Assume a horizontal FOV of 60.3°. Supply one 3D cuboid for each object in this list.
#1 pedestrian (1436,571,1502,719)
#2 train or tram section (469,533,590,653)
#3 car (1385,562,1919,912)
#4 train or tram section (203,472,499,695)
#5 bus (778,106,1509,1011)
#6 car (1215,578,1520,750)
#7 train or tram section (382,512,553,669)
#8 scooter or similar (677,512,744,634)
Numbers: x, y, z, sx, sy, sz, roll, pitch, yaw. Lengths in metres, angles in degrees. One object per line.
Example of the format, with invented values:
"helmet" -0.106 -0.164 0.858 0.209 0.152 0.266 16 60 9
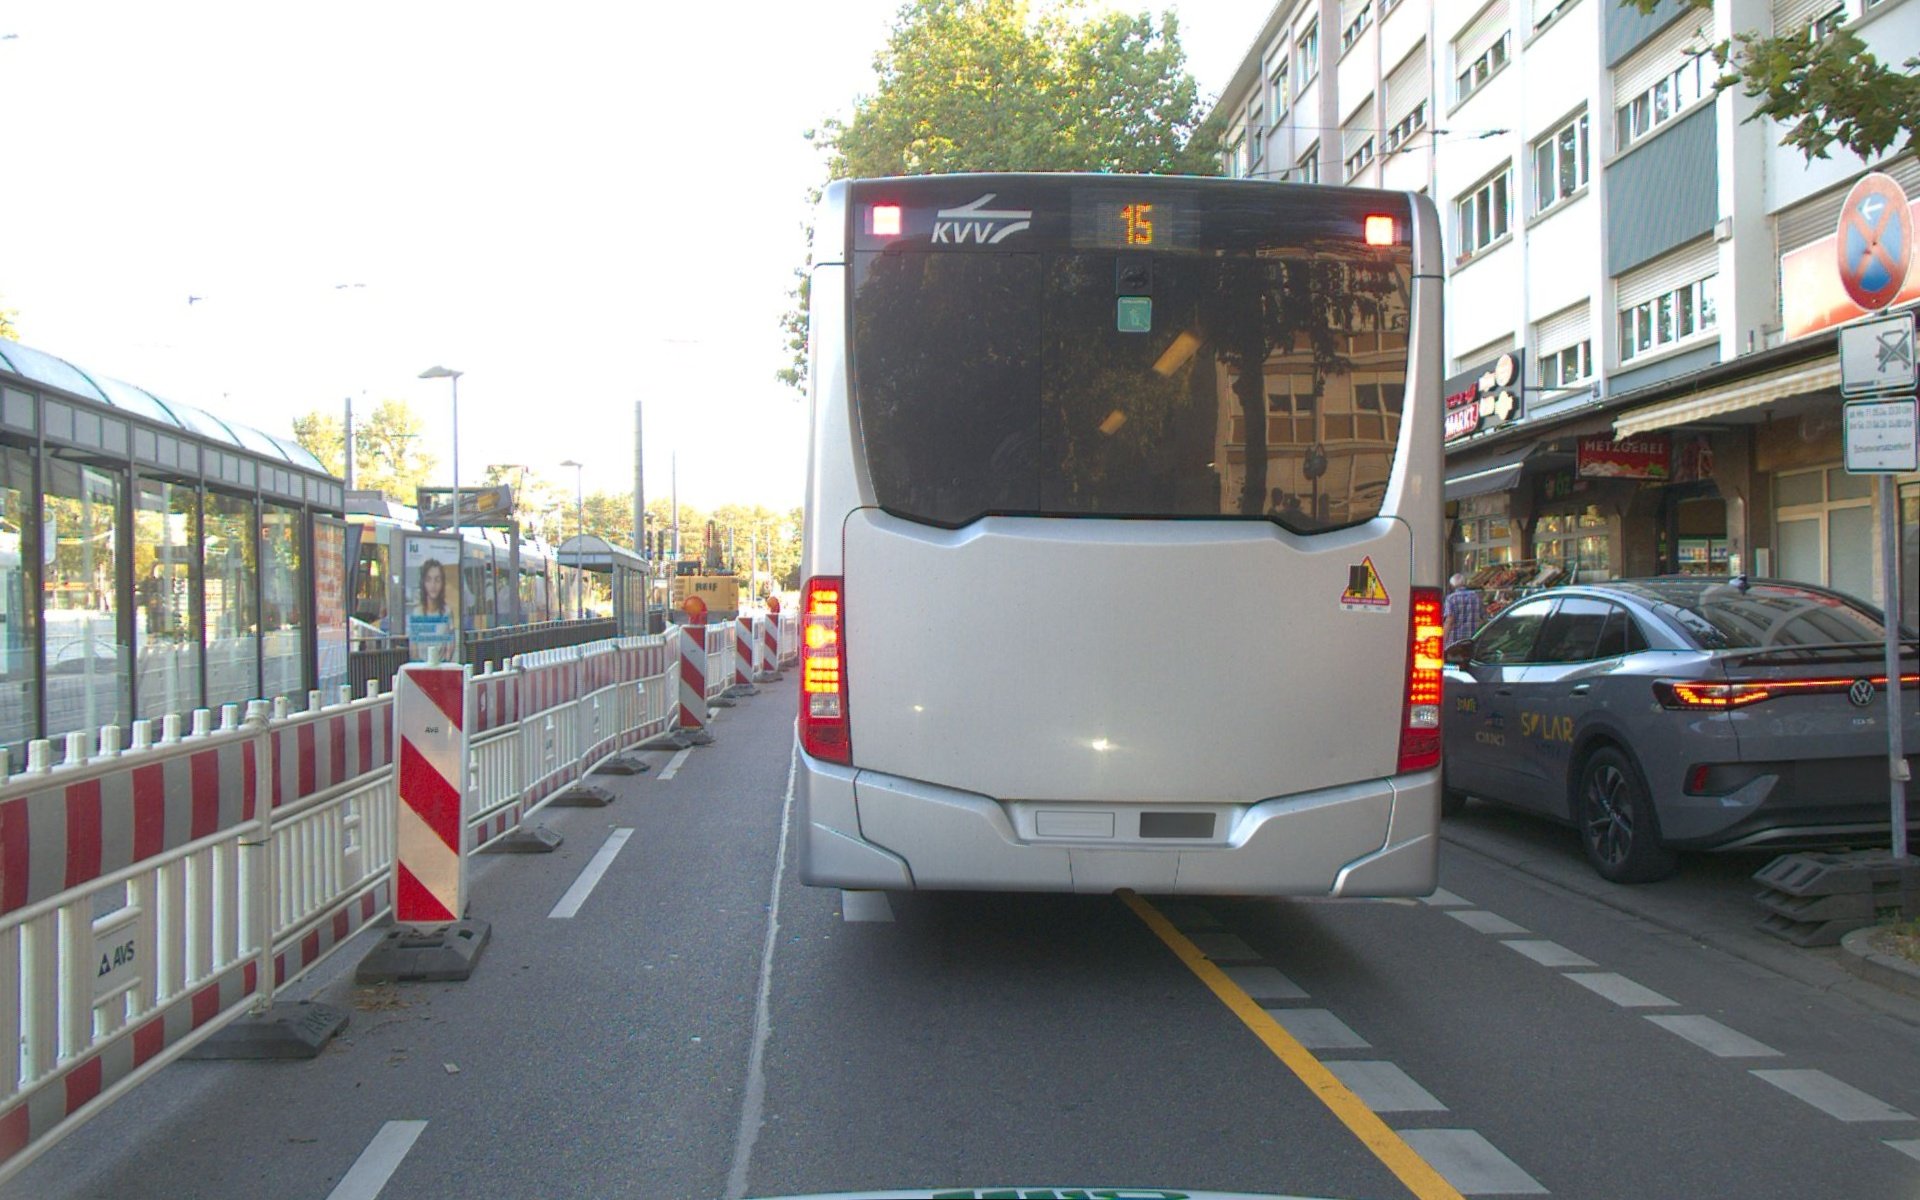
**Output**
"pedestrian" 5.998 0.521 19.515 0.649 1.696 0.601 -2 -1 15
"train or tram section" -14.333 -0.186 55.899 2.636 3.594 11.559 1 0 -8
"car" 4.360 0.632 10.211 1.955 1.609 4.363 -3 1 -5
"train or tram section" -11.544 -0.245 32.840 2.635 3.595 11.755 1 0 -6
"bus" 0.609 -0.135 9.908 2.558 3.181 7.991 1 0 -1
"car" 4.384 0.619 18.576 1.955 1.609 4.363 -3 1 -5
"train or tram section" -12.921 -0.210 44.443 2.636 3.621 11.560 1 0 -8
"scooter or similar" -9.707 -1.010 64.630 2.422 4.549 5.962 0 0 -8
